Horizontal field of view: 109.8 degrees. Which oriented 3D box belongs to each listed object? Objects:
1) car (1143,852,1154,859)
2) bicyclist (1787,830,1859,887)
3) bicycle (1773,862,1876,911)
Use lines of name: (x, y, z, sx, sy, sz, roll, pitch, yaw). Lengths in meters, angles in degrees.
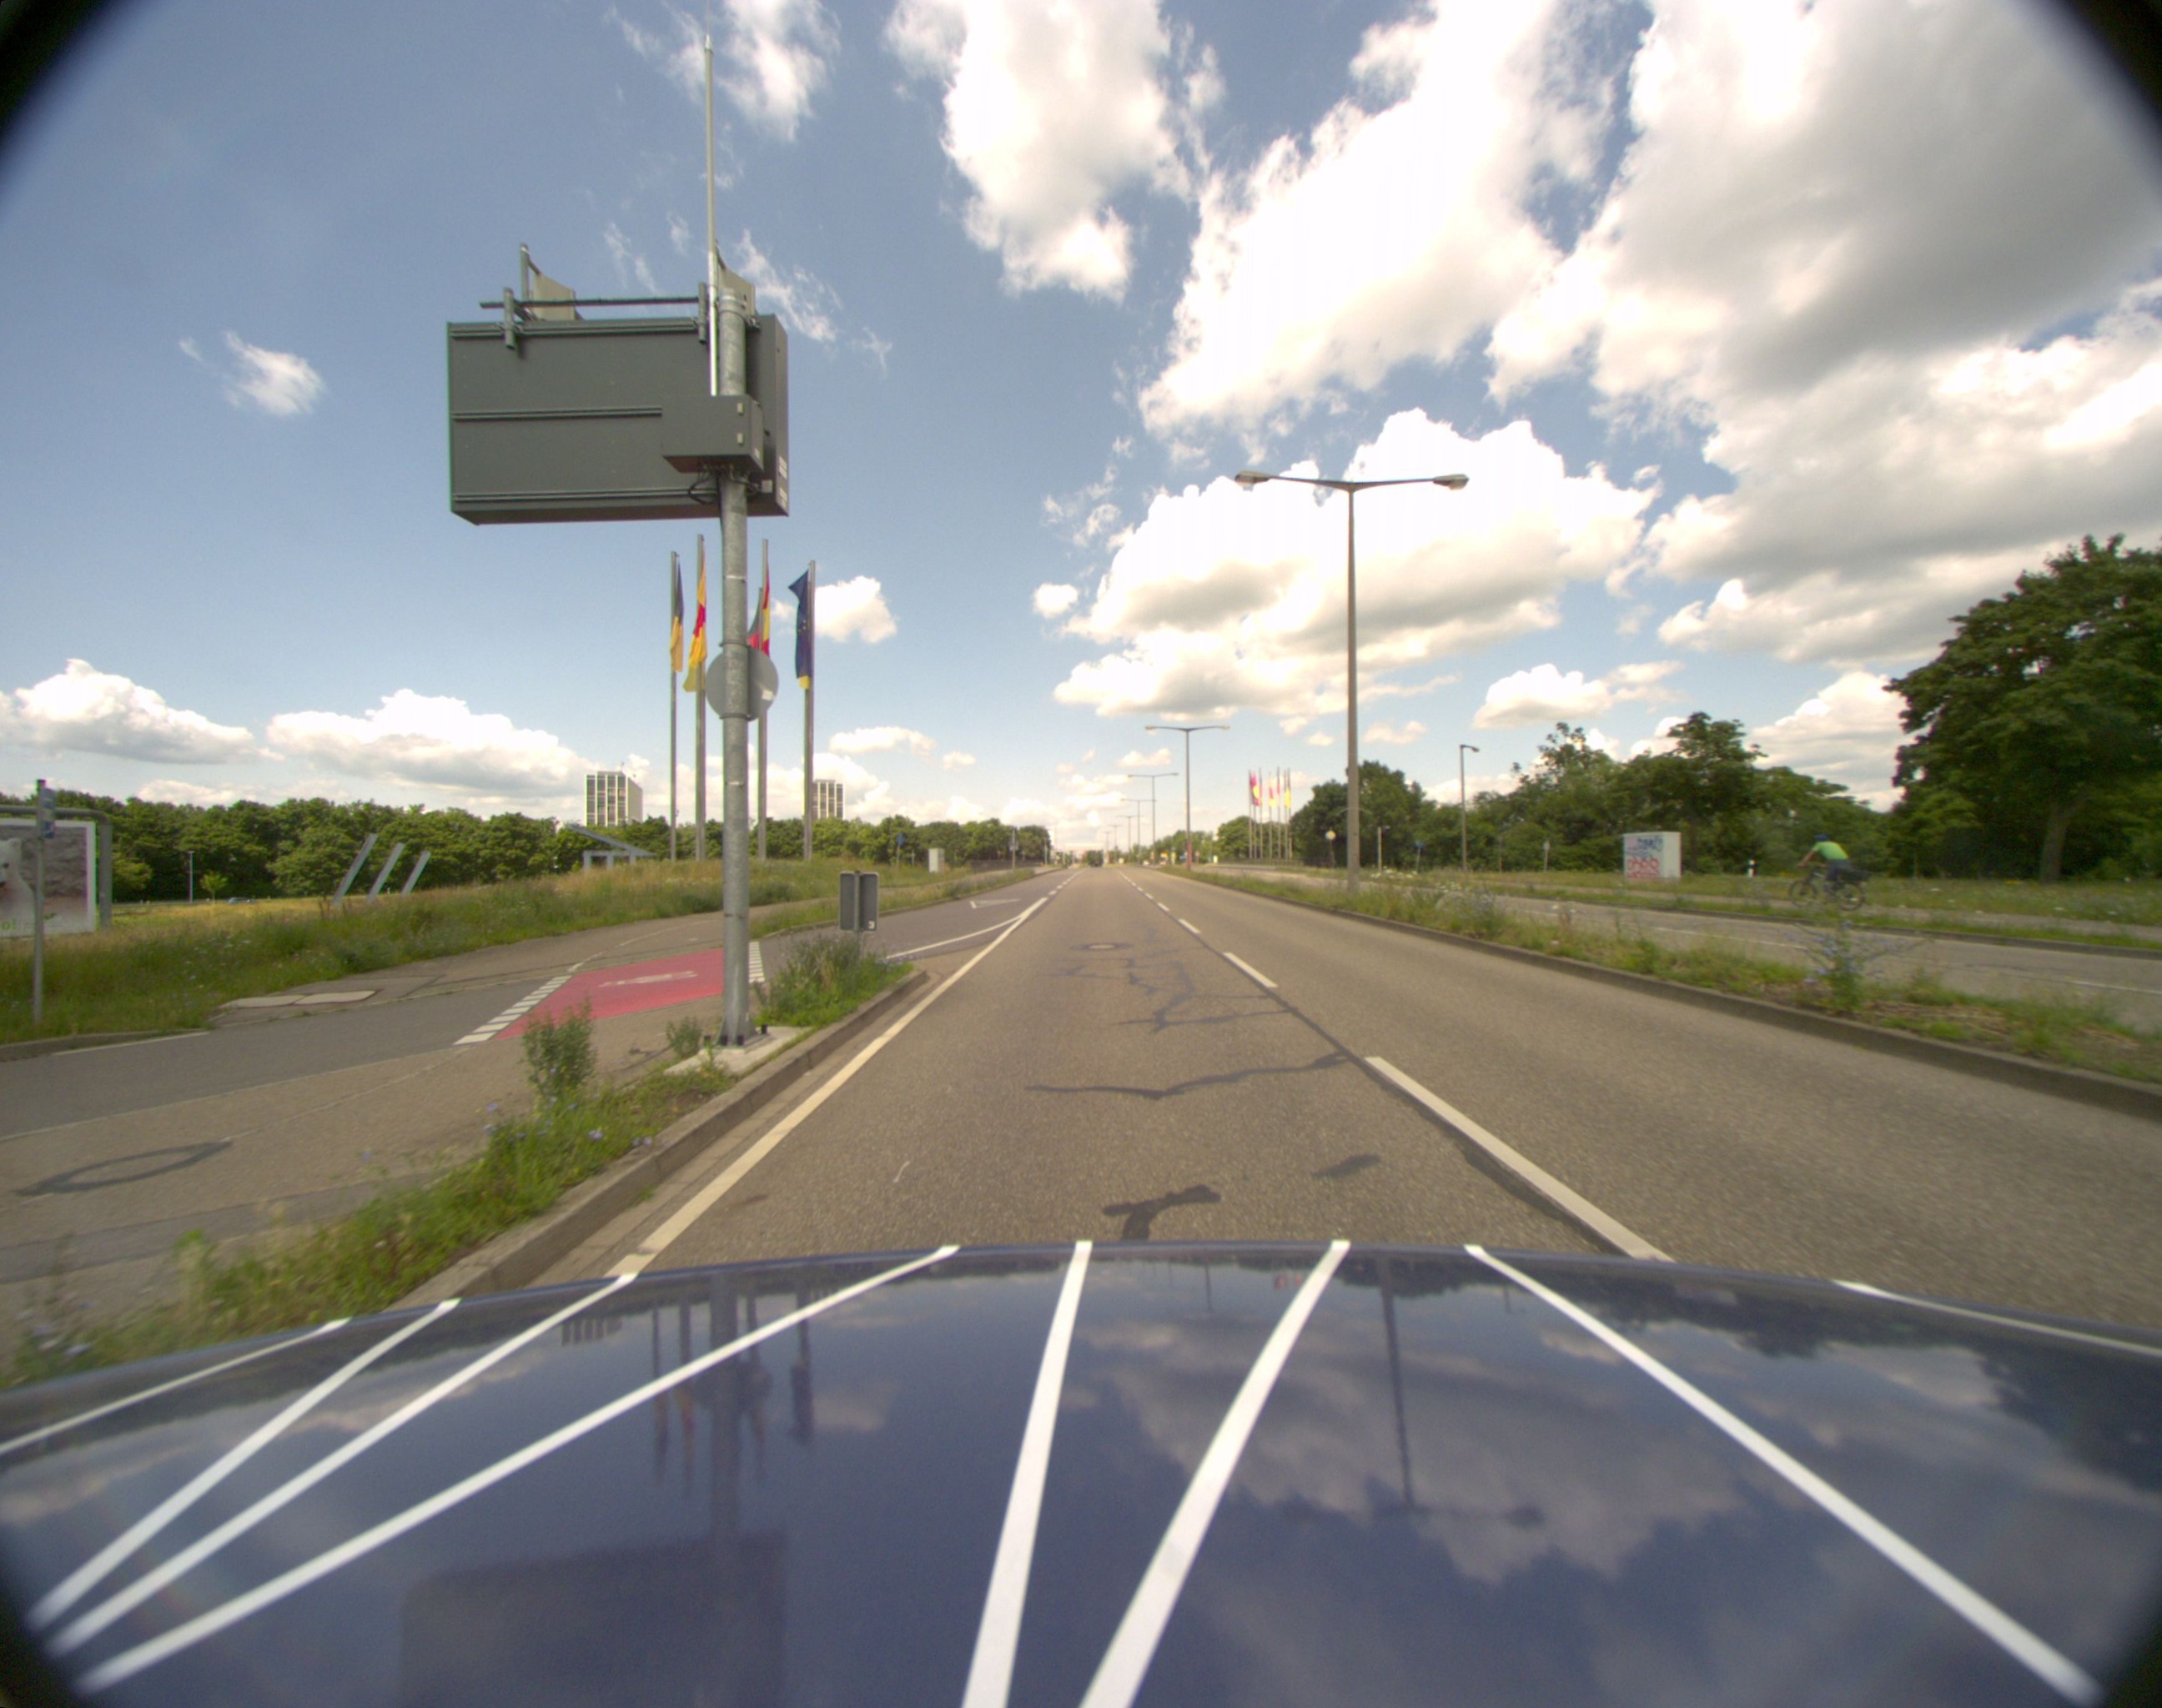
car: (17.518, 0.331, 198.005, 2.094, 1.616, 4.549, 5, -1, -2)
bicyclist: (17.299, 0.115, 17.733, 0.522, 1.265, 1.107, -2, 0, -2)
bicycle: (17.316, 0.733, 17.756, 0.433, 1.062, 1.907, -2, -1, -2)
